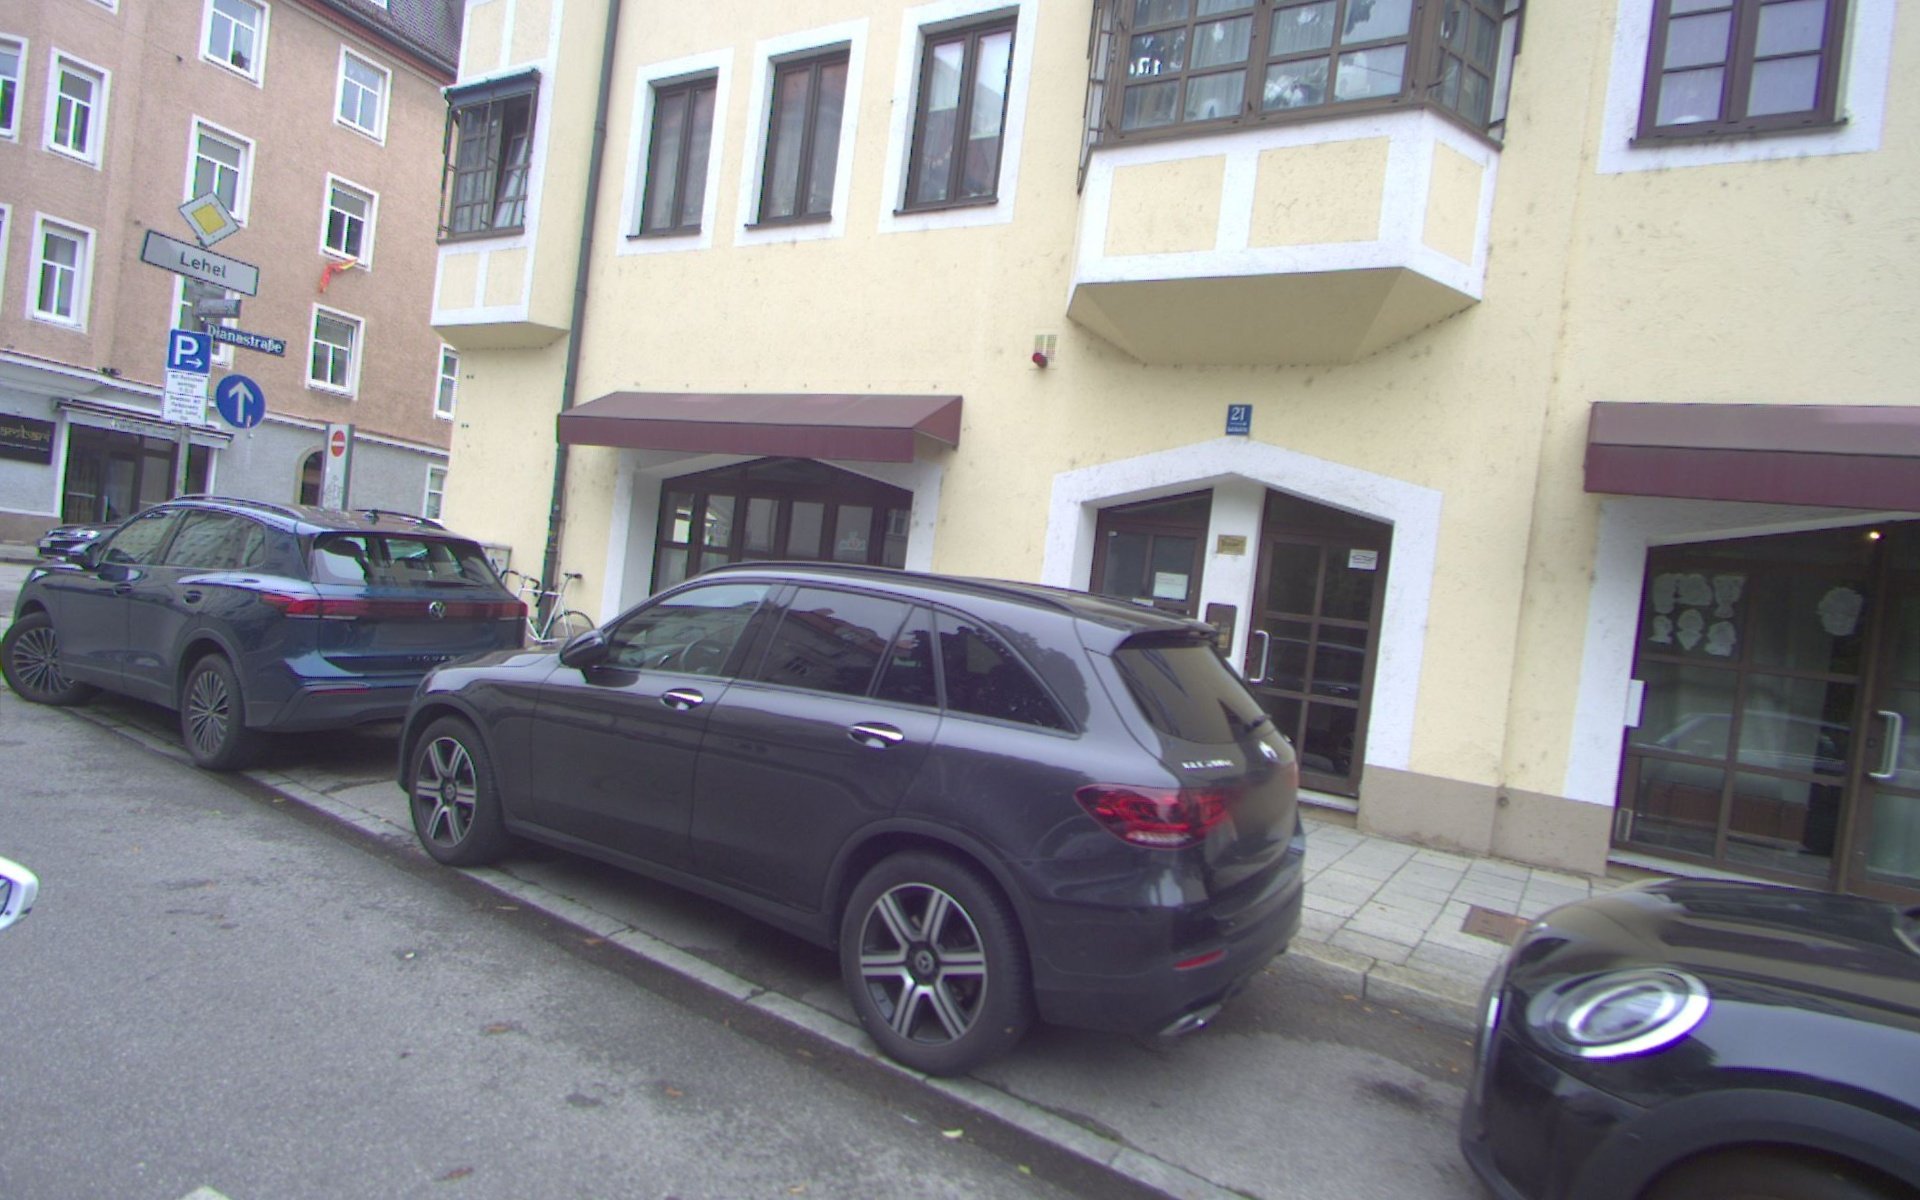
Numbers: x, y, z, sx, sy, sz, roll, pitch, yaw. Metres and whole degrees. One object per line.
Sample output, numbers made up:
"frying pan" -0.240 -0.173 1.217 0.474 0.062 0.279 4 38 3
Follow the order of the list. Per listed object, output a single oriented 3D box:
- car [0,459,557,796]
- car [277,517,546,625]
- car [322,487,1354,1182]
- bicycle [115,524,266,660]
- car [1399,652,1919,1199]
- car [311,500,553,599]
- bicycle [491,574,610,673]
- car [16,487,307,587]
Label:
"car" -5.233 0.030 7.358 4.434 1.701 1.820 7 2 31
"car" -10.237 -0.480 19.081 1.717 1.475 4.042 9 1 31
"car" -0.851 0.544 4.711 4.629 1.701 1.757 7 2 33
"bicycle" -8.238 -0.105 10.738 1.962 1.222 0.514 7 0 31
"car" 3.167 1.116 2.090 3.763 1.515 1.756 7 2 36
"car" -13.458 -1.222 26.031 2.064 1.876 5.136 5 -1 29
"bicycle" -4.981 0.270 12.192 1.656 0.989 0.271 7 0 30
"car" -16.093 -1.219 20.521 1.892 1.446 4.177 5 -1 29
